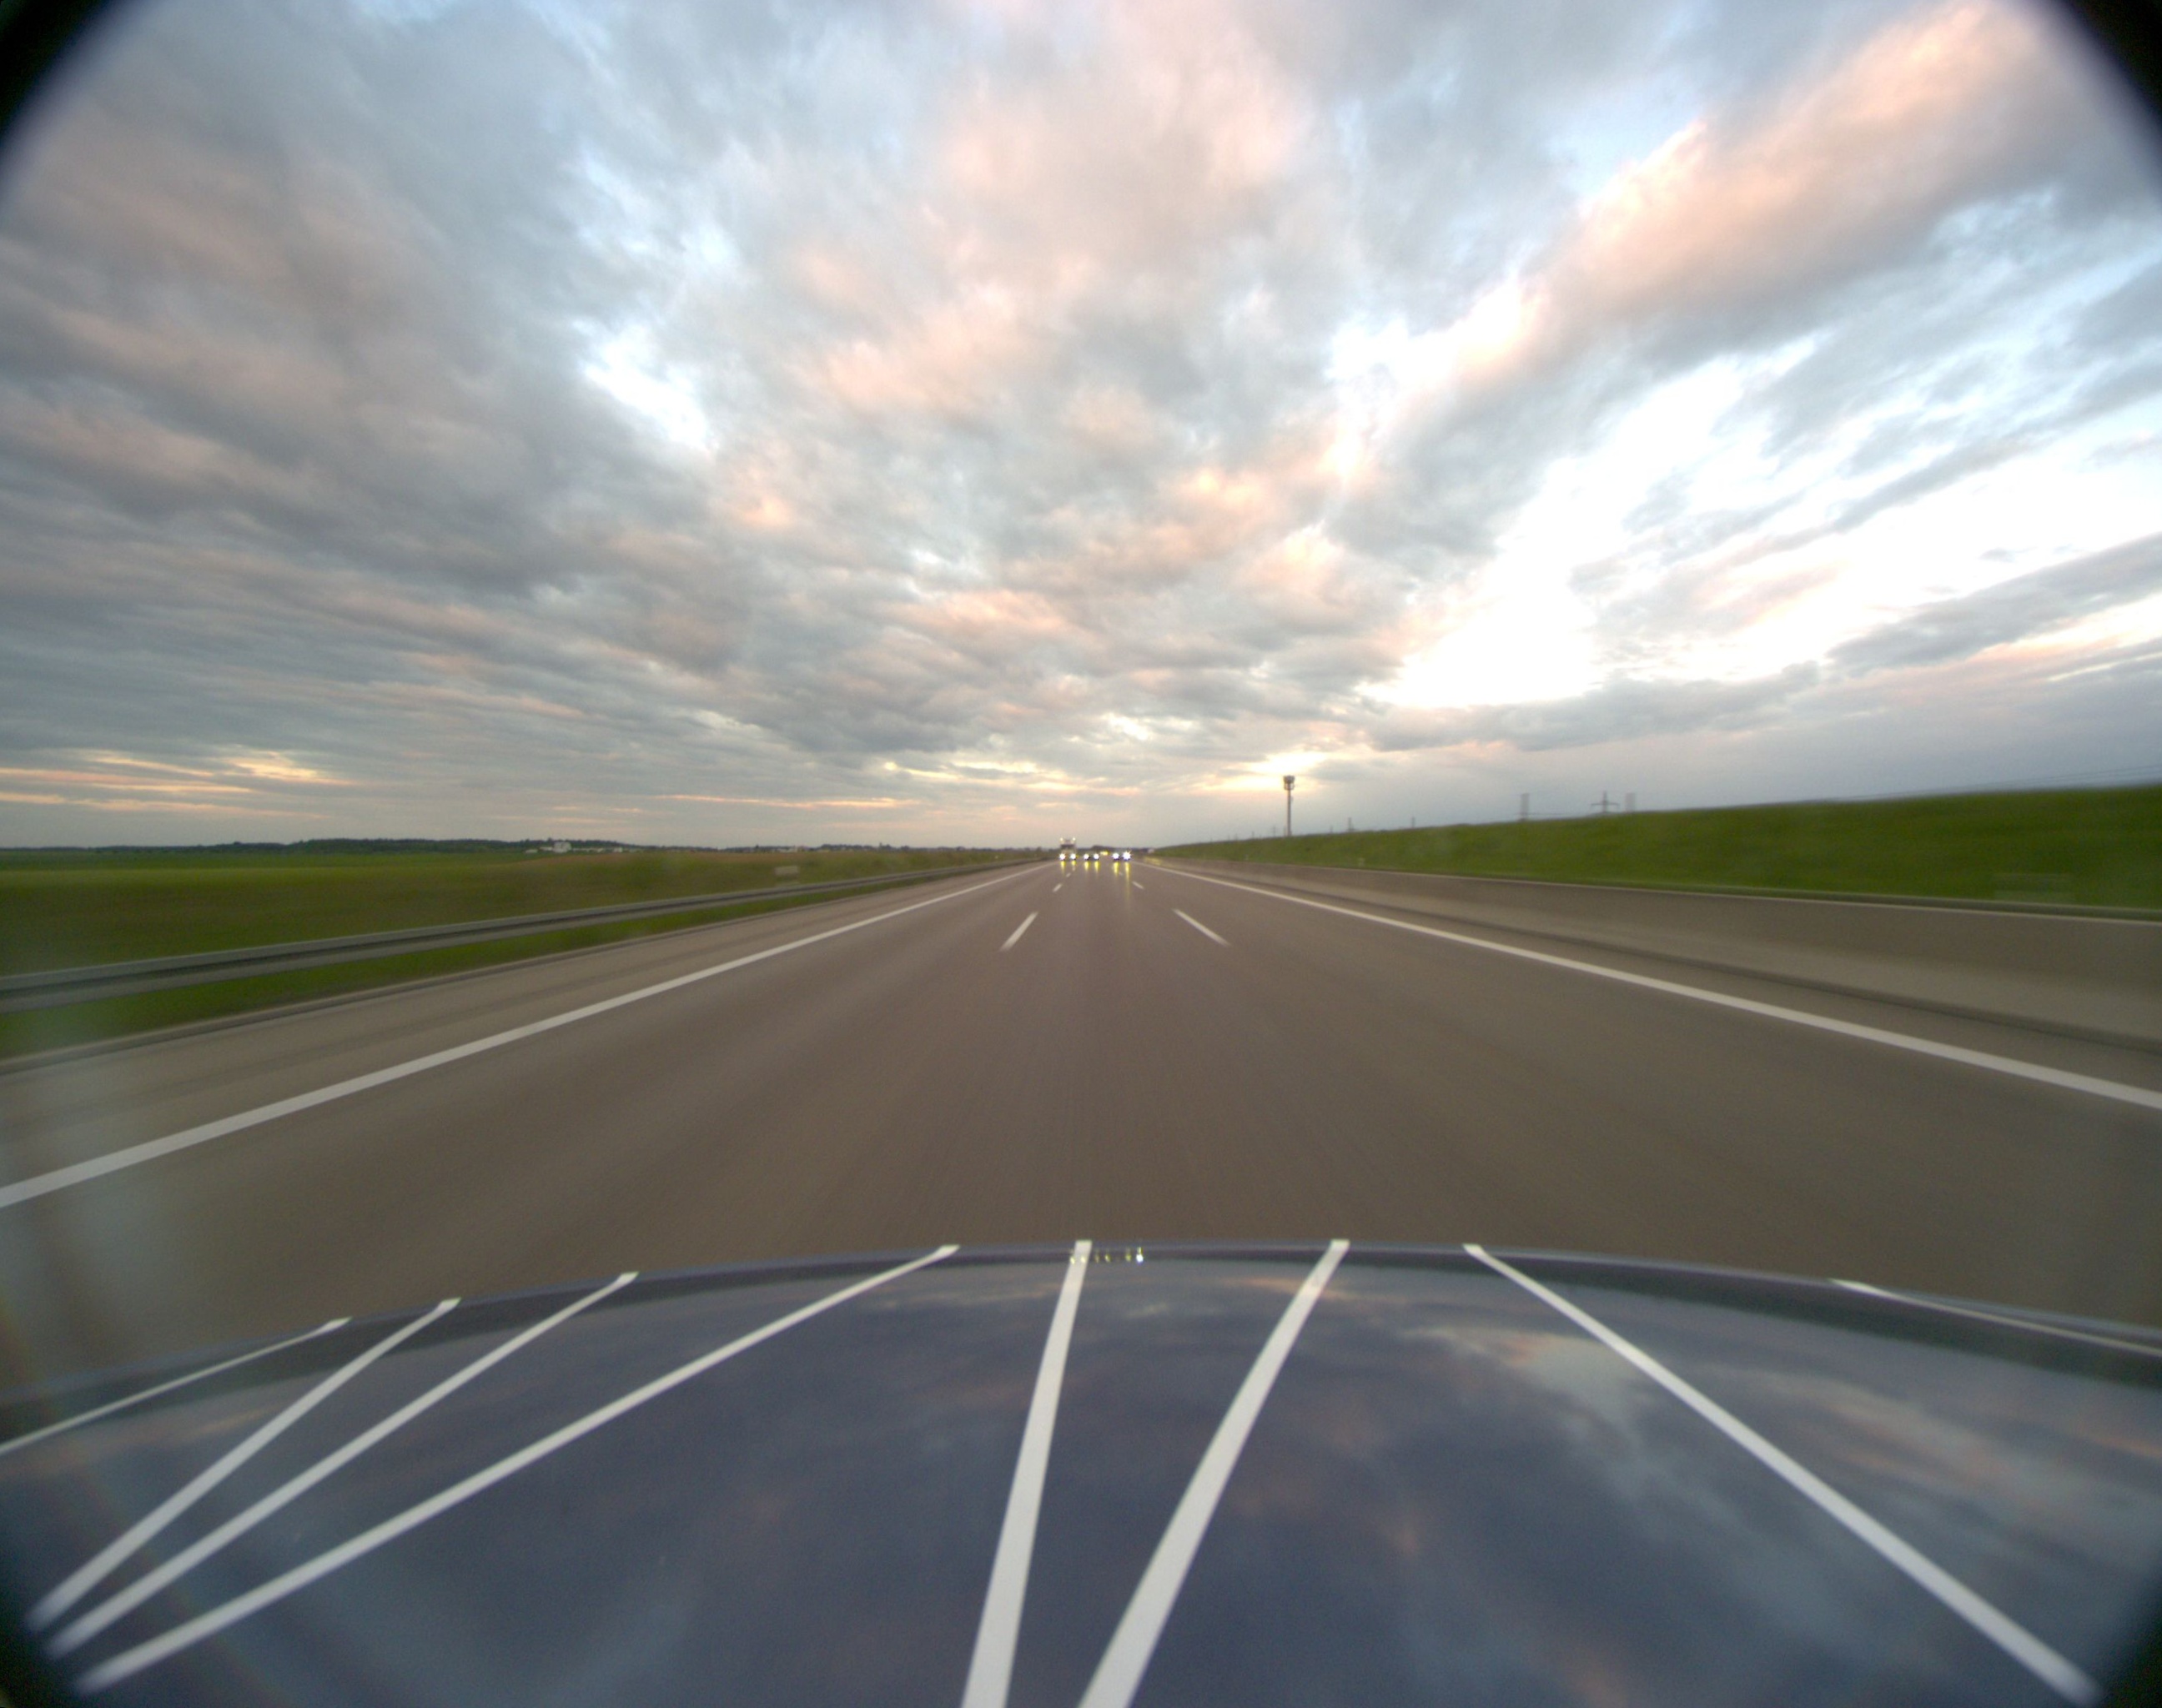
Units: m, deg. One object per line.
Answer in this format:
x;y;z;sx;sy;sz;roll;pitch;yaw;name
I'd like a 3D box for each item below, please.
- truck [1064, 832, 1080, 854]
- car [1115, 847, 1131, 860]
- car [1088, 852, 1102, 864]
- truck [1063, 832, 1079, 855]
-1.705;-1.965;145.763;2.596;3.999;12.985;-1;0;1;truck
5.840;-0.038;105.582;1.998;1.652;4.000;-3;1;1;car
2.111;0.562;114.011;1.998;1.652;4.851;-3;1;1;car
-1.878;-1.892;139.333;2.596;3.999;5.859;-1;0;1;truck
